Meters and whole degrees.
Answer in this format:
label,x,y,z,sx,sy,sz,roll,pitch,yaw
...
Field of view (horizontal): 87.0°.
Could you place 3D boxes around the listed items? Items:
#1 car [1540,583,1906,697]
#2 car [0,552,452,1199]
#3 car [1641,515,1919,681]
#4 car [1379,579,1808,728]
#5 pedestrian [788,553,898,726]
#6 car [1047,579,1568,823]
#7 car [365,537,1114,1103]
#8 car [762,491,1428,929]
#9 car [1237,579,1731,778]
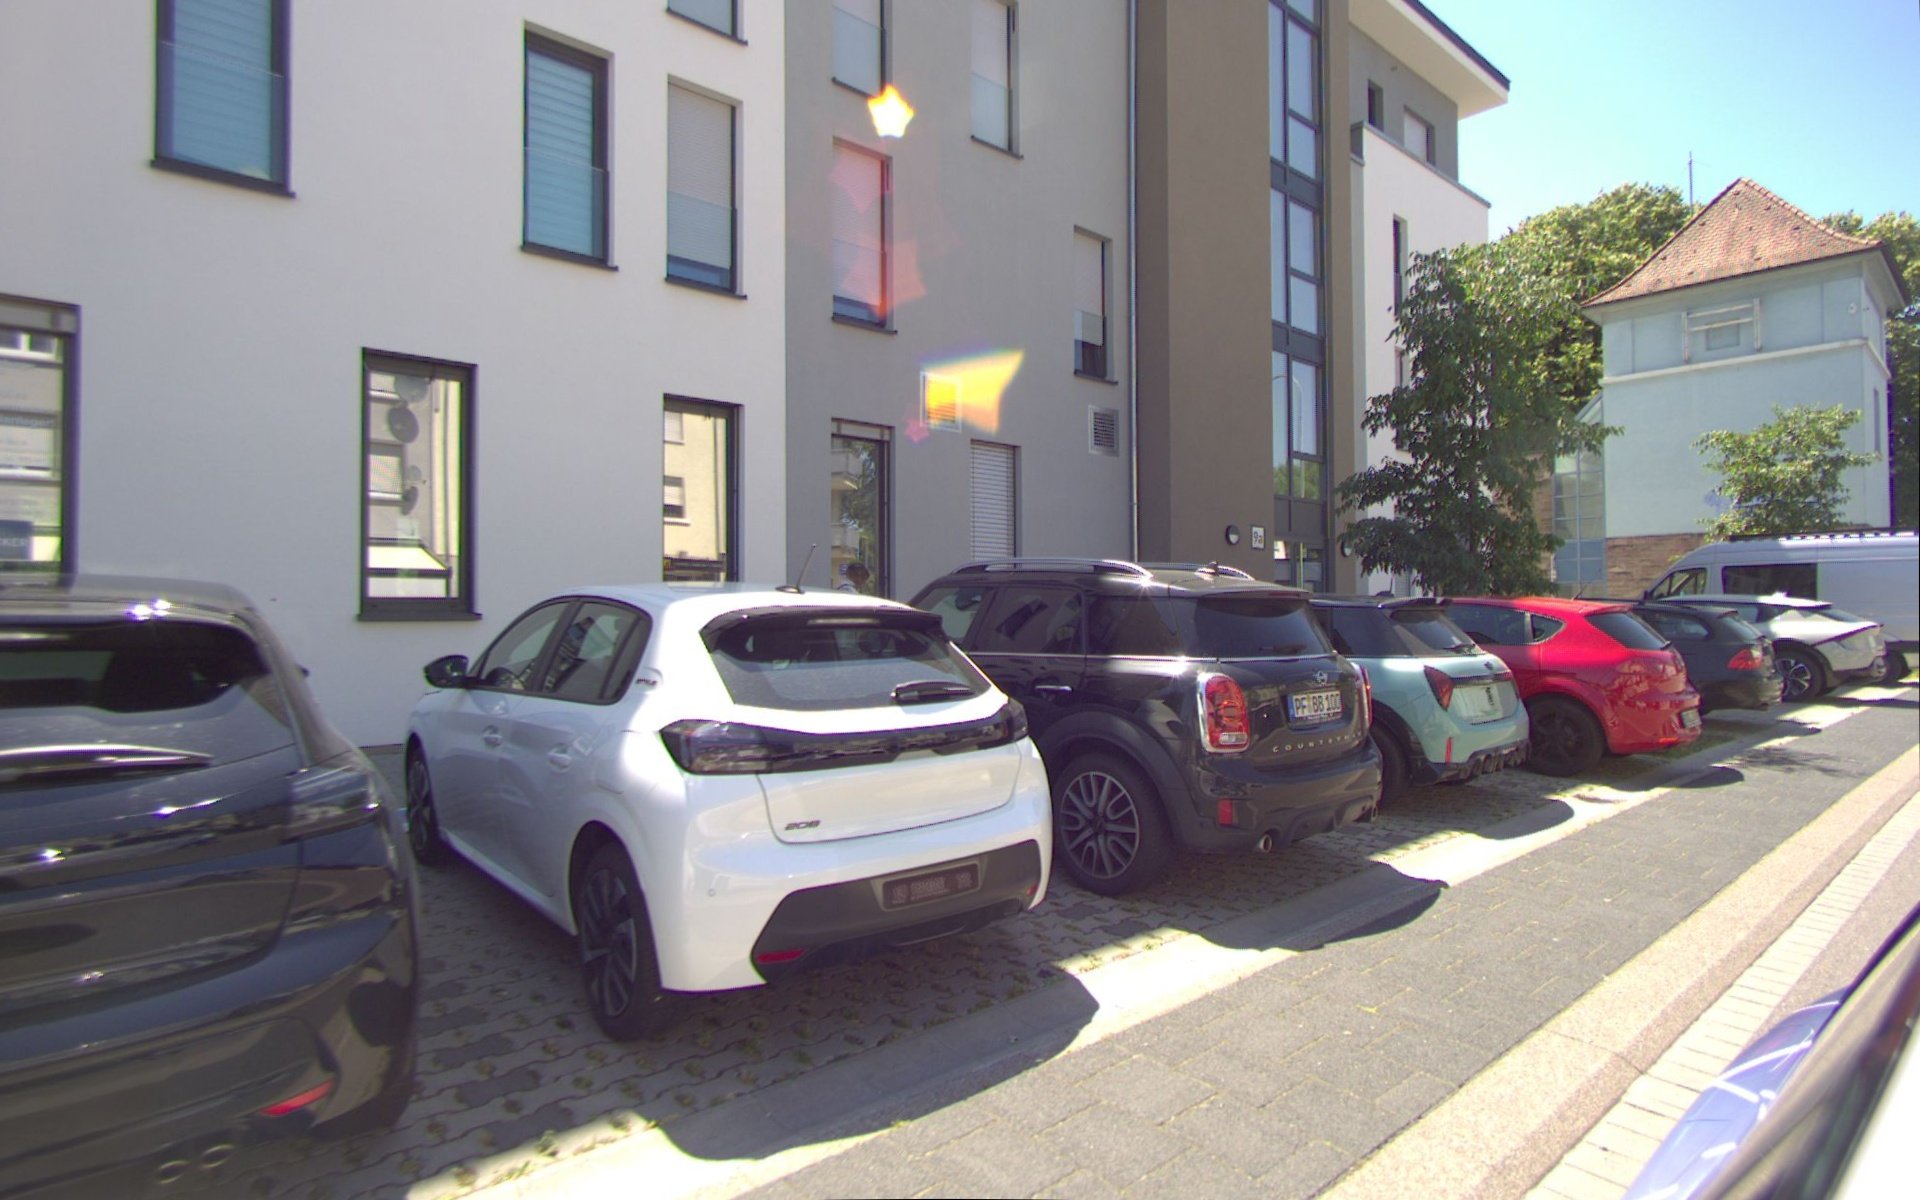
label,x,y,z,sx,sy,sz,roll,pitch,yaw
car,11.840,0.533,15.971,1.689,1.549,4.378,0,0,-40
car,-2.826,0.600,3.153,1.507,1.463,3.666,0,2,-39
car,15.715,-0.041,18.717,1.818,2.771,4.864,0,0,-40
car,7.790,0.558,12.796,1.624,1.570,4.351,0,0,-43
pedestrian,-1.216,0.386,10.526,0.989,1.705,0.576,0,-1,-40
car,2.545,0.581,8.033,1.589,1.481,3.613,0,1,-41
car,-1.325,0.575,4.698,1.748,1.501,3.813,0,0,-42
car,0.565,0.446,6.219,1.809,1.809,3.813,0,0,-42
car,4.702,0.574,9.504,1.623,1.481,3.814,0,0,-41
